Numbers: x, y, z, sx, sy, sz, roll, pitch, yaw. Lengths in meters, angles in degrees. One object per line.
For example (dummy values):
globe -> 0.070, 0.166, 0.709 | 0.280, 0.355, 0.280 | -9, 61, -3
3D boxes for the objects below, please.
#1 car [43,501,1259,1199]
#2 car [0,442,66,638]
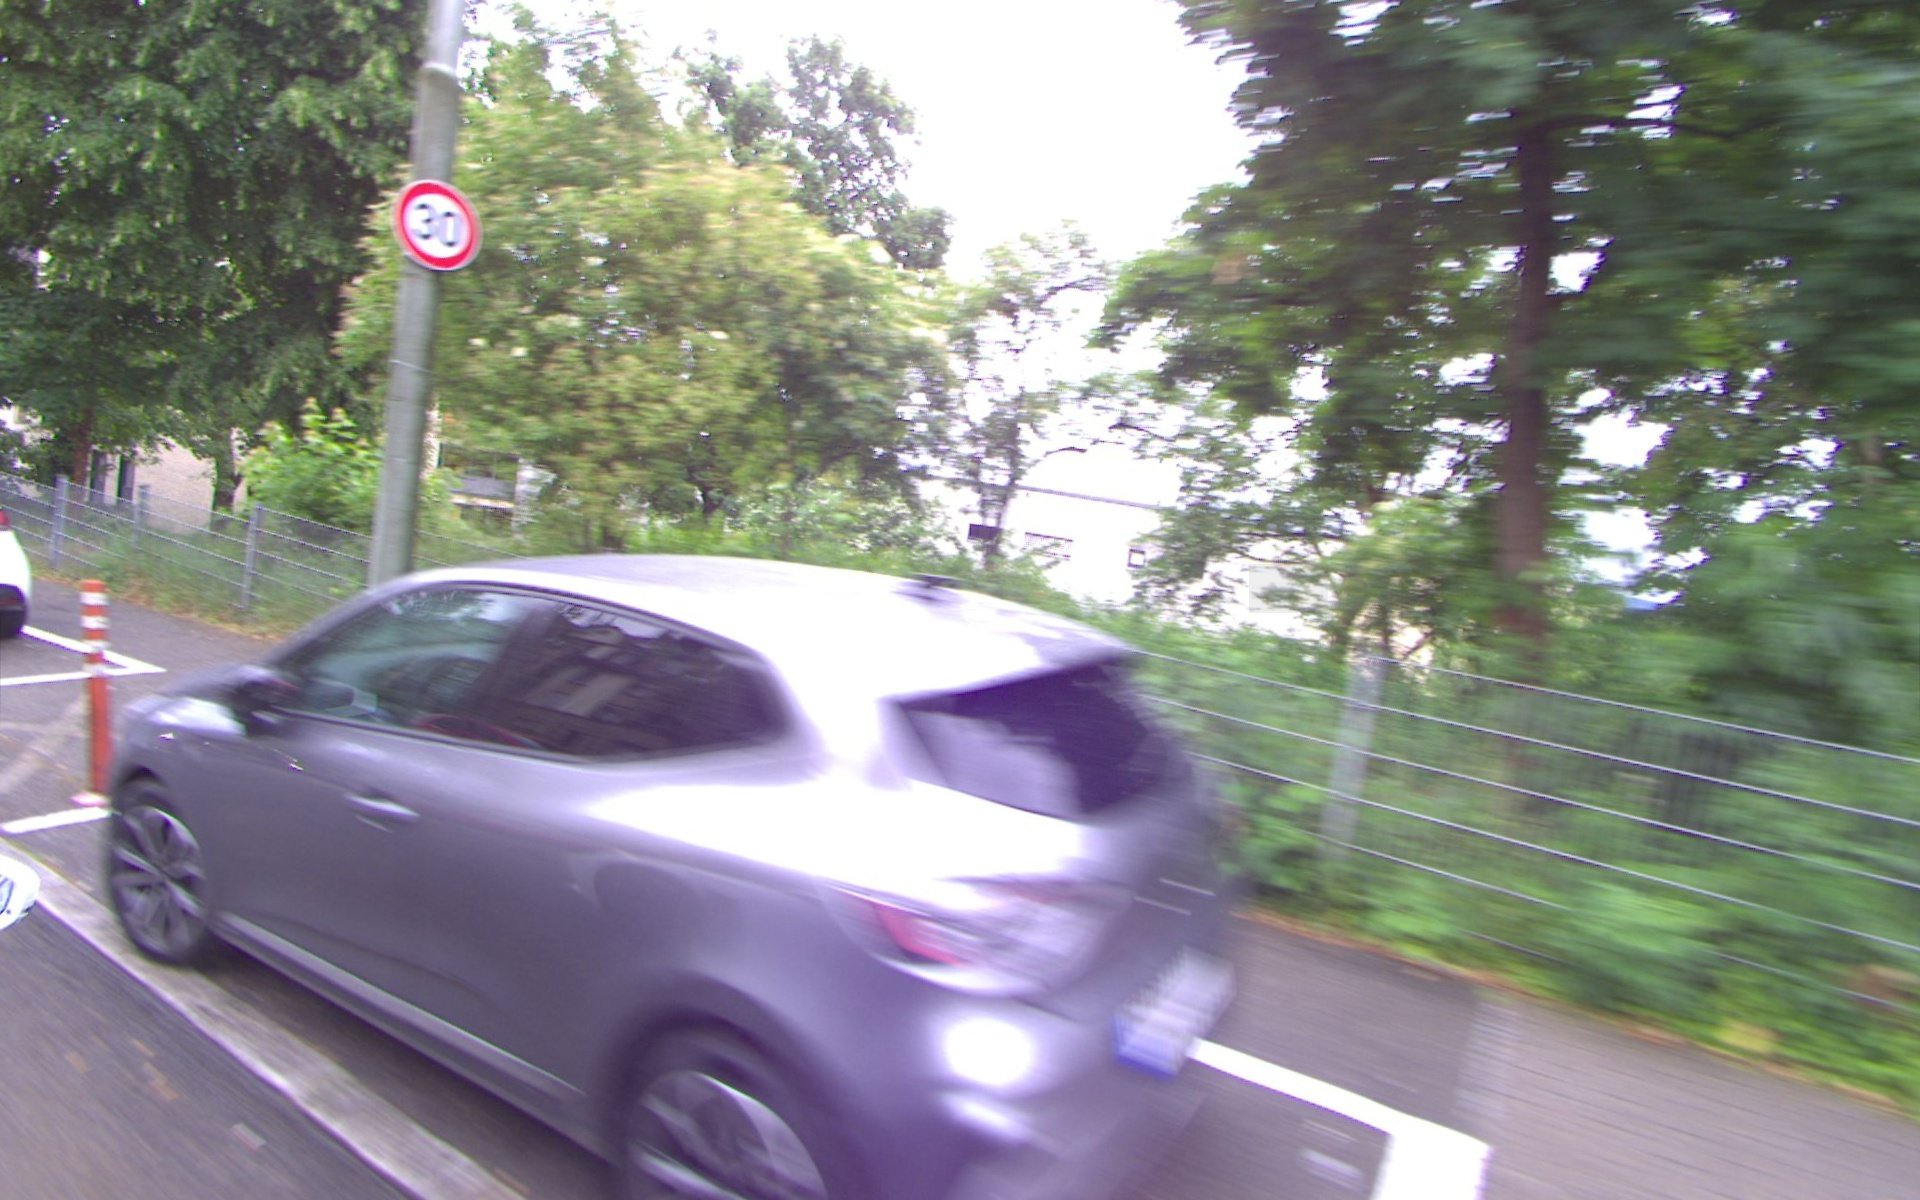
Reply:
car -> -1.190, 0.534, 3.266 | 3.749, 1.425, 1.647 | 7, 6, 31
car -> -9.420, -0.615, 8.228 | 3.930, 1.518, 1.813 | 6, 7, 27
